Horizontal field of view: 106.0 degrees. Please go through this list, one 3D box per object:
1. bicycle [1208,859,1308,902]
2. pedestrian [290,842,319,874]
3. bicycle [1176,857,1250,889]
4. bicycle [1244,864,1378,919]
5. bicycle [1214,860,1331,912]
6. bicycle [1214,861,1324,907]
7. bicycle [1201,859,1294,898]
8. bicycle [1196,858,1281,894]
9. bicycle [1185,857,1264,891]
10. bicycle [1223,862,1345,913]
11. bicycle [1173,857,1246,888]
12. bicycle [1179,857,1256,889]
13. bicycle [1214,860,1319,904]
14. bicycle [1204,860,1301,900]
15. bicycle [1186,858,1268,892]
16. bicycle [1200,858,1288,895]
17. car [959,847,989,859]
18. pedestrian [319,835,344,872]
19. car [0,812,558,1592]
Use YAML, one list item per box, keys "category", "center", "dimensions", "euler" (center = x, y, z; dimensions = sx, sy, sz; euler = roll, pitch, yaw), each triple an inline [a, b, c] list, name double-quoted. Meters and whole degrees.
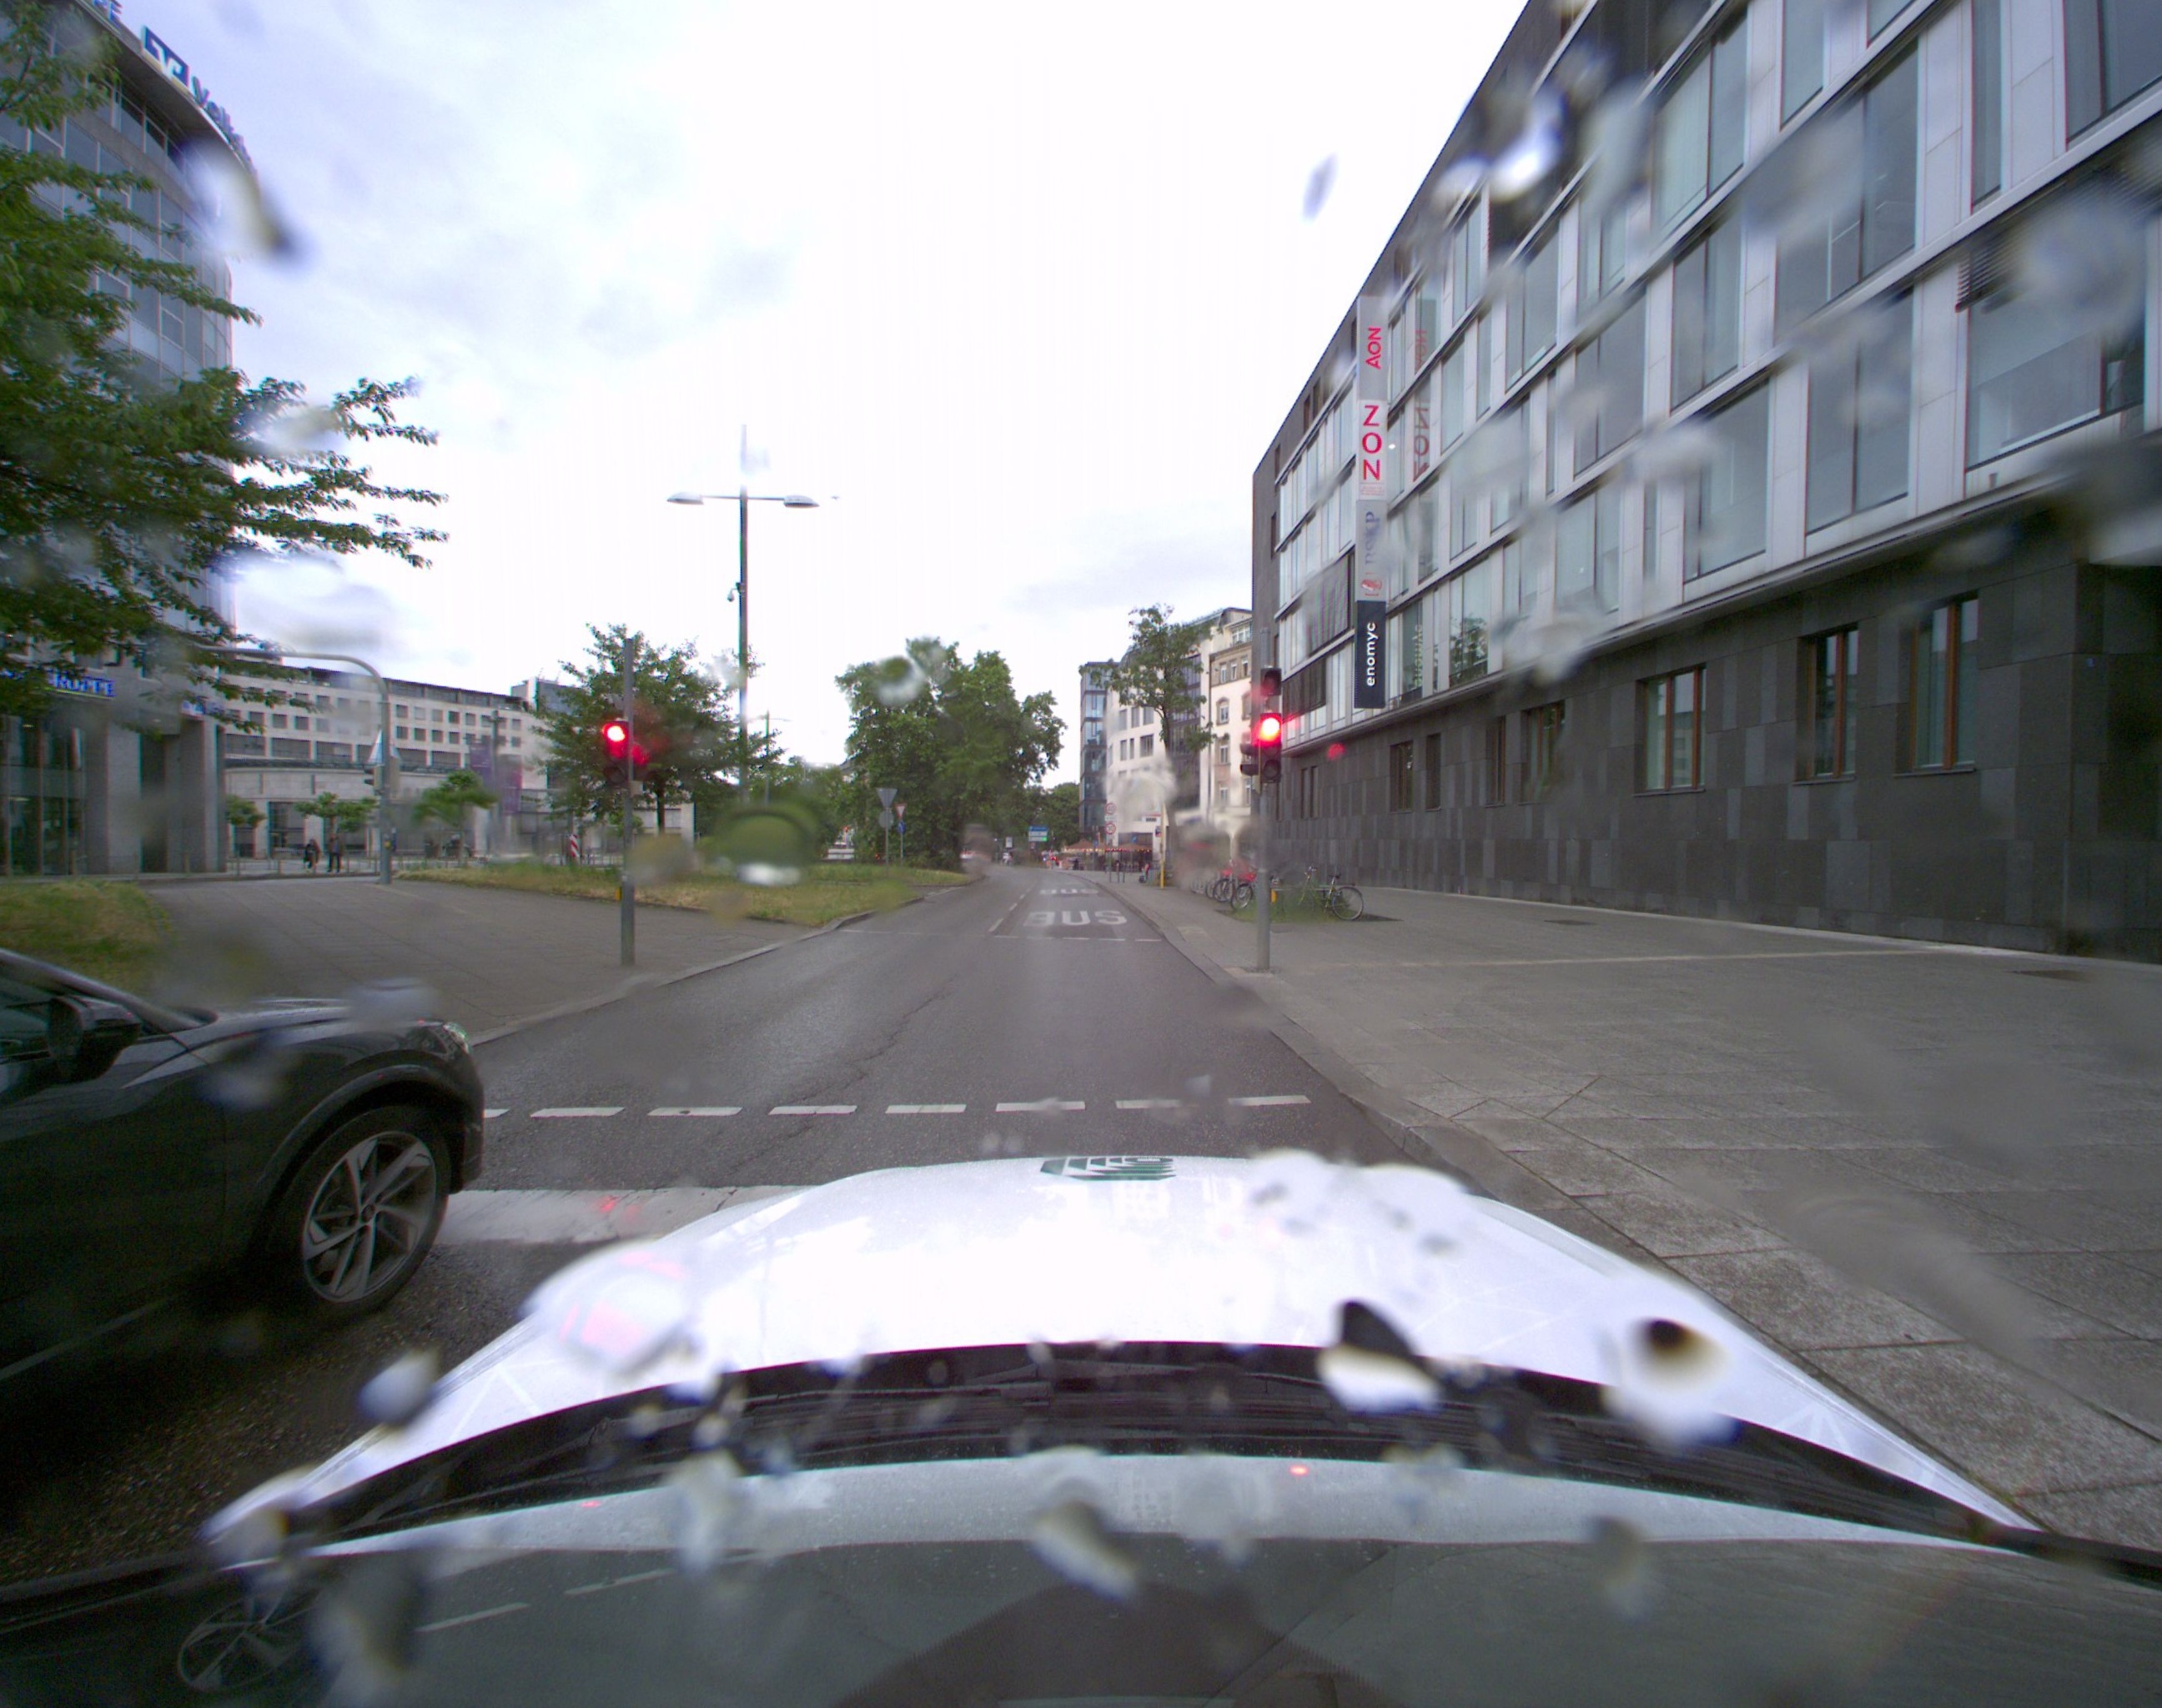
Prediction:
- category: "bicycle"
  center: [4.690, 0.703, 21.649]
  dimensions: [2.530, 1.087, 0.677]
  euler: [-1, 0, -3]
- category: "pedestrian"
  center: [-37.155, 0.191, 38.977]
  dimensions: [0.728, 1.516, 0.689]
  euler: [-2, 0, -11]
- category: "bicycle"
  center: [4.659, 0.661, 28.833]
  dimensions: [2.530, 1.087, 0.677]
  euler: [-1, 0, -3]
- category: "bicycle"
  center: [4.627, 0.750, 16.475]
  dimensions: [2.530, 1.057, 0.677]
  euler: [0, 0, -3]
- category: "bicycle"
  center: [4.397, 0.725, 18.763]
  dimensions: [2.530, 1.087, 0.677]
  euler: [2, 0, -3]
- category: "bicycle"
  center: [4.594, 0.727, 19.985]
  dimensions: [2.530, 1.087, 0.677]
  euler: [-1, 0, -3]
- category: "bicycle"
  center: [4.781, 0.690, 23.424]
  dimensions: [2.530, 1.087, 0.677]
  euler: [-1, 0, -3]
- category: "bicycle"
  center: [4.931, 0.674, 25.597]
  dimensions: [2.530, 1.087, 0.677]
  euler: [-1, 0, -3]
- category: "bicycle"
  center: [4.777, 0.658, 27.193]
  dimensions: [2.530, 1.087, 0.677]
  euler: [-1, 0, -3]
- category: "bicycle"
  center: [4.448, 0.731, 17.958]
  dimensions: [2.530, 1.087, 0.677]
  euler: [0, 0, -3]
- category: "bicycle"
  center: [4.647, 0.670, 29.556]
  dimensions: [2.530, 1.087, 0.627]
  euler: [-1, 0, -3]
- category: "bicycle"
  center: [4.682, 0.648, 28.085]
  dimensions: [2.530, 1.087, 0.677]
  euler: [-1, 0, -3]
- category: "bicycle"
  center: [4.720, 0.707, 20.837]
  dimensions: [2.530, 1.087, 0.677]
  euler: [-1, 0, -3]
- category: "bicycle"
  center: [4.723, 0.705, 22.515]
  dimensions: [2.530, 1.060, 0.677]
  euler: [-1, 0, -3]
- category: "bicycle"
  center: [4.719, 0.674, 26.442]
  dimensions: [2.530, 1.087, 0.677]
  euler: [-1, 0, -3]
- category: "bicycle"
  center: [4.911, 0.675, 24.618]
  dimensions: [2.530, 1.087, 0.677]
  euler: [-1, 0, -3]
- category: "car"
  center: [-15.655, -0.130, 119.271]
  dimensions: [2.158, 1.700, 4.025]
  euler: [0, 0, 33]
- category: "pedestrian"
  center: [-36.079, -0.016, 39.204]
  dimensions: [0.622, 1.763, 0.720]
  euler: [-2, 0, -21]
- category: "car"
  center: [-3.145, 0.712, 1.333]
  dimensions: [1.842, 1.616, 4.251]
  euler: [1, 1, -1]
